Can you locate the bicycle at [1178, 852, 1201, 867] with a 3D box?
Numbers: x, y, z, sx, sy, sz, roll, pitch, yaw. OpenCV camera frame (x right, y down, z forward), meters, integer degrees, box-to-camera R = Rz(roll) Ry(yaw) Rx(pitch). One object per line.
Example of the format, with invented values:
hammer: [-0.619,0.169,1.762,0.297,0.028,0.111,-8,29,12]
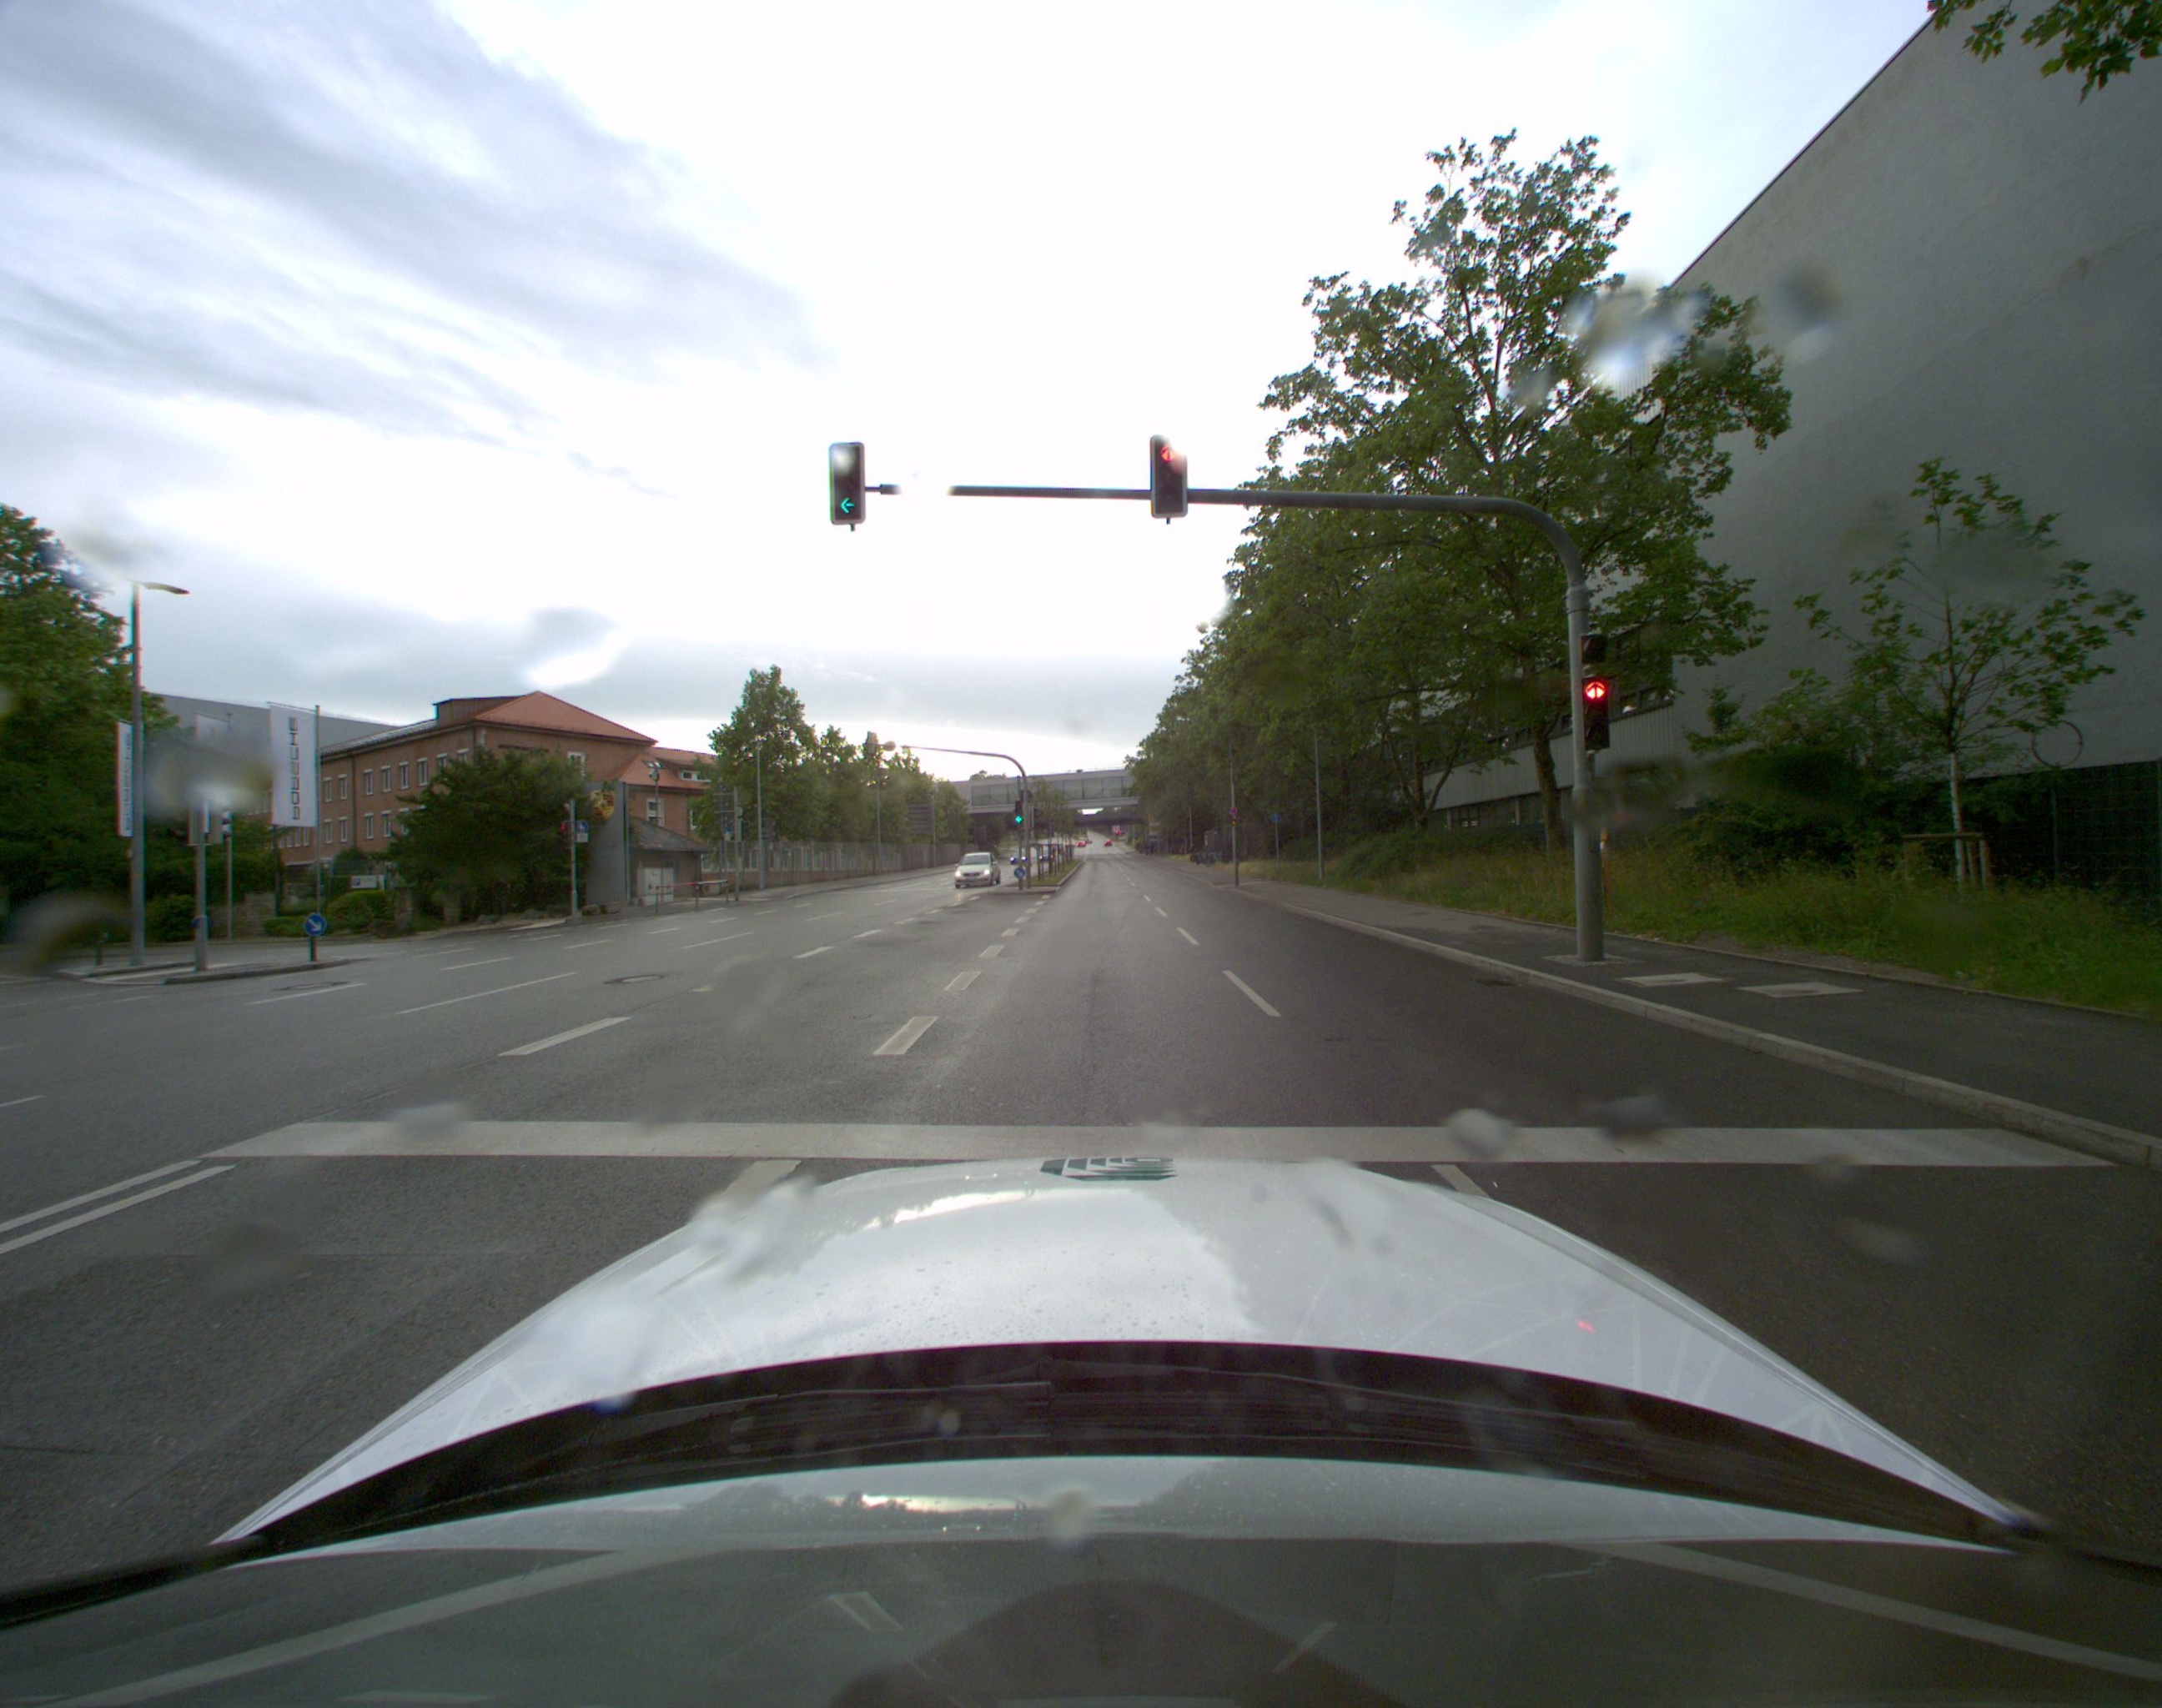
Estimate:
bicycle: [9.726,0.535,72.910,1.955,1.328,0.654,0,-1,2]

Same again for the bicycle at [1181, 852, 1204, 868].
bicycle: [9.792,0.512,71.305,1.955,1.328,0.654,0,-1,2]

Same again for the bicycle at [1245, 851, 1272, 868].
bicycle: [13.811,0.438,63.437,1.982,1.328,0.576,0,-1,2]

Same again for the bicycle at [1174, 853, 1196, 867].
bicycle: [9.426,0.547,73.831,1.955,1.328,0.654,0,-1,2]

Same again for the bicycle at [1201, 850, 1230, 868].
bicycle: [9.635,0.366,58.324,1.982,1.233,0.541,0,-1,2]

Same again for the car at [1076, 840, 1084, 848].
car: [-0.183,-2.513,207.327,1.986,1.762,4.002,0,-1,2]

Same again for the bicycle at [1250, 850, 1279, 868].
bicycle: [13.513,0.385,60.006,1.982,1.328,0.576,0,-1,2]

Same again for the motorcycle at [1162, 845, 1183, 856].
motorcycle: [10.660,-0.382,94.998,2.354,1.202,0.724,-3,0,9]

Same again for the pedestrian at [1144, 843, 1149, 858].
pedestrian: [8.454,-0.456,105.245,0.619,2.013,0.606,-3,0,2]

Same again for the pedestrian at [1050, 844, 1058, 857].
pedestrian: [-4.400,-0.536,131.176,0.863,2.004,0.860,-3,0,29]

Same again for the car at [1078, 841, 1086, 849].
car: [0.235,-2.350,213.474,1.877,1.762,3.970,0,-1,2]

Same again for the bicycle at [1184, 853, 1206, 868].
bicycle: [10.651,0.590,76.110,1.955,1.328,0.654,0,-1,2]

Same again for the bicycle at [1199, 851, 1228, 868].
bicycle: [9.705,0.382,59.688,1.982,1.242,0.541,0,-1,2]

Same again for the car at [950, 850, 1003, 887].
car: [-4.965,0.646,39.283,1.870,1.624,3.780,-2,0,2]

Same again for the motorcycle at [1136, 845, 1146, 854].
motorcycle: [9.269,-0.717,125.677,0.792,1.311,2.363,-3,0,-16]

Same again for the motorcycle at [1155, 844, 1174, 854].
motorcycle: [10.947,-0.658,106.313,2.354,1.202,0.724,-3,0,9]

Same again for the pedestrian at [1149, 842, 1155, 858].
pedestrian: [9.112,-0.502,104.776,0.619,2.013,0.606,-3,0,2]

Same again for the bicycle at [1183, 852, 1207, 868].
bicycle: [9.675,0.495,69.380,1.982,1.328,0.576,0,-1,2]

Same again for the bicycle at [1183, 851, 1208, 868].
bicycle: [9.326,0.444,66.144,1.982,1.328,0.576,0,-1,2]

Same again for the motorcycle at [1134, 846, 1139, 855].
motorcycle: [9.891,-0.666,144.972,0.787,1.533,2.376,-3,0,0]

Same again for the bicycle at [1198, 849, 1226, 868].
bicycle: [9.717,0.327,60.402,1.982,1.340,0.541,0,-1,2]

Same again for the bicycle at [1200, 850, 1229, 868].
bicycle: [9.672,0.372,59.000,1.982,1.242,0.541,0,-1,2]

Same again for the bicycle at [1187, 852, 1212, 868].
bicycle: [9.979,0.474,68.661,1.982,1.328,0.576,0,-1,2]

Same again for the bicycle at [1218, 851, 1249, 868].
bicycle: [10.111,0.376,54.092,1.982,1.094,0.541,0,-1,2]

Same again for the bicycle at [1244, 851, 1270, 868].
bicycle: [13.842,0.447,64.060,1.982,1.328,0.576,0,-1,2]

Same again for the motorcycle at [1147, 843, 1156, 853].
motorcycle: [10.449,-0.892,120.872,0.789,1.311,2.371,-3,0,-7]

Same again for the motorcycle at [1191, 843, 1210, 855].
motorcycle: [15.751,-0.614,107.190,2.354,1.476,0.724,-3,0,9]

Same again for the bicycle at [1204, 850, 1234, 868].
bicycle: [9.498,0.341,56.137,1.982,1.216,0.541,0,-1,2]

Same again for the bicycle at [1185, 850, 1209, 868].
bicycle: [9.650,0.408,67.815,1.982,1.430,0.723,0,-1,2]

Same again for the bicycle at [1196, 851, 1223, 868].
bicycle: [9.644,0.403,61.095,1.982,1.242,0.541,0,-1,2]

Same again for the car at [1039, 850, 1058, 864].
car: [-3.925,0.333,99.136,1.870,1.624,3.780,-2,0,2]

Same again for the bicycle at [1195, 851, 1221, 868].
bicycle: [9.672,0.417,62.044,1.982,1.242,0.541,0,-1,2]

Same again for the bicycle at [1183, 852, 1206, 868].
bicycle: [9.856,0.502,70.613,1.953,1.328,0.576,0,-1,2]

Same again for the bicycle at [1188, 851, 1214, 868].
bicycle: [9.621,0.434,65.327,1.982,1.328,0.576,0,-1,2]

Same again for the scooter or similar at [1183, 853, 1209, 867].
scooter or similar: [9.050,0.482,64.226,1.982,1.138,0.541,0,-1,2]

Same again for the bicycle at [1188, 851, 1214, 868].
bicycle: [9.320,0.435,63.428,1.982,1.242,0.541,0,-1,2]

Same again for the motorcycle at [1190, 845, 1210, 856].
motorcycle: [14.625,-0.446,100.352,2.354,1.202,0.724,-3,0,9]

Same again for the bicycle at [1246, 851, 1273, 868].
bicycle: [13.774,0.428,62.759,1.982,1.328,0.576,0,-1,2]

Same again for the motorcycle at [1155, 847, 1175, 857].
motorcycle: [10.349,-0.252,100.040,2.354,1.202,0.724,-3,0,9]

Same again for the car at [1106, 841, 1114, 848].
car: [7.240,-2.333,203.377,1.868,1.497,4.070,0,-1,2]

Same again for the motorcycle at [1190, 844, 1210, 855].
motorcycle: [14.834,-0.587,101.436,2.354,1.202,0.724,-3,0,9]

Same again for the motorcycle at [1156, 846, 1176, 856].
motorcycle: [10.636,-0.384,101.807,2.354,1.202,0.724,-3,0,9]

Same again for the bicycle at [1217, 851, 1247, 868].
bicycle: [10.131,0.385,54.661,1.982,1.094,0.541,0,-1,2]

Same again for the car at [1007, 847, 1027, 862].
car: [-7.502,0.060,96.010,1.870,1.624,3.780,-2,0,2]

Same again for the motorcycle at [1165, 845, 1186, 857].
motorcycle: [11.274,-0.359,97.146,2.354,1.202,0.724,-3,0,9]

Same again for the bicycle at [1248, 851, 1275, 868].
bicycle: [13.752,0.417,62.094,1.982,1.328,0.576,0,-1,2]

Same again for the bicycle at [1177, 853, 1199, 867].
bicycle: [9.781,0.561,74.628,1.955,1.328,0.654,0,-1,2]

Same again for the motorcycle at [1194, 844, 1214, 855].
motorcycle: [15.008,-0.504,99.061,2.354,1.202,0.724,-3,0,9]
